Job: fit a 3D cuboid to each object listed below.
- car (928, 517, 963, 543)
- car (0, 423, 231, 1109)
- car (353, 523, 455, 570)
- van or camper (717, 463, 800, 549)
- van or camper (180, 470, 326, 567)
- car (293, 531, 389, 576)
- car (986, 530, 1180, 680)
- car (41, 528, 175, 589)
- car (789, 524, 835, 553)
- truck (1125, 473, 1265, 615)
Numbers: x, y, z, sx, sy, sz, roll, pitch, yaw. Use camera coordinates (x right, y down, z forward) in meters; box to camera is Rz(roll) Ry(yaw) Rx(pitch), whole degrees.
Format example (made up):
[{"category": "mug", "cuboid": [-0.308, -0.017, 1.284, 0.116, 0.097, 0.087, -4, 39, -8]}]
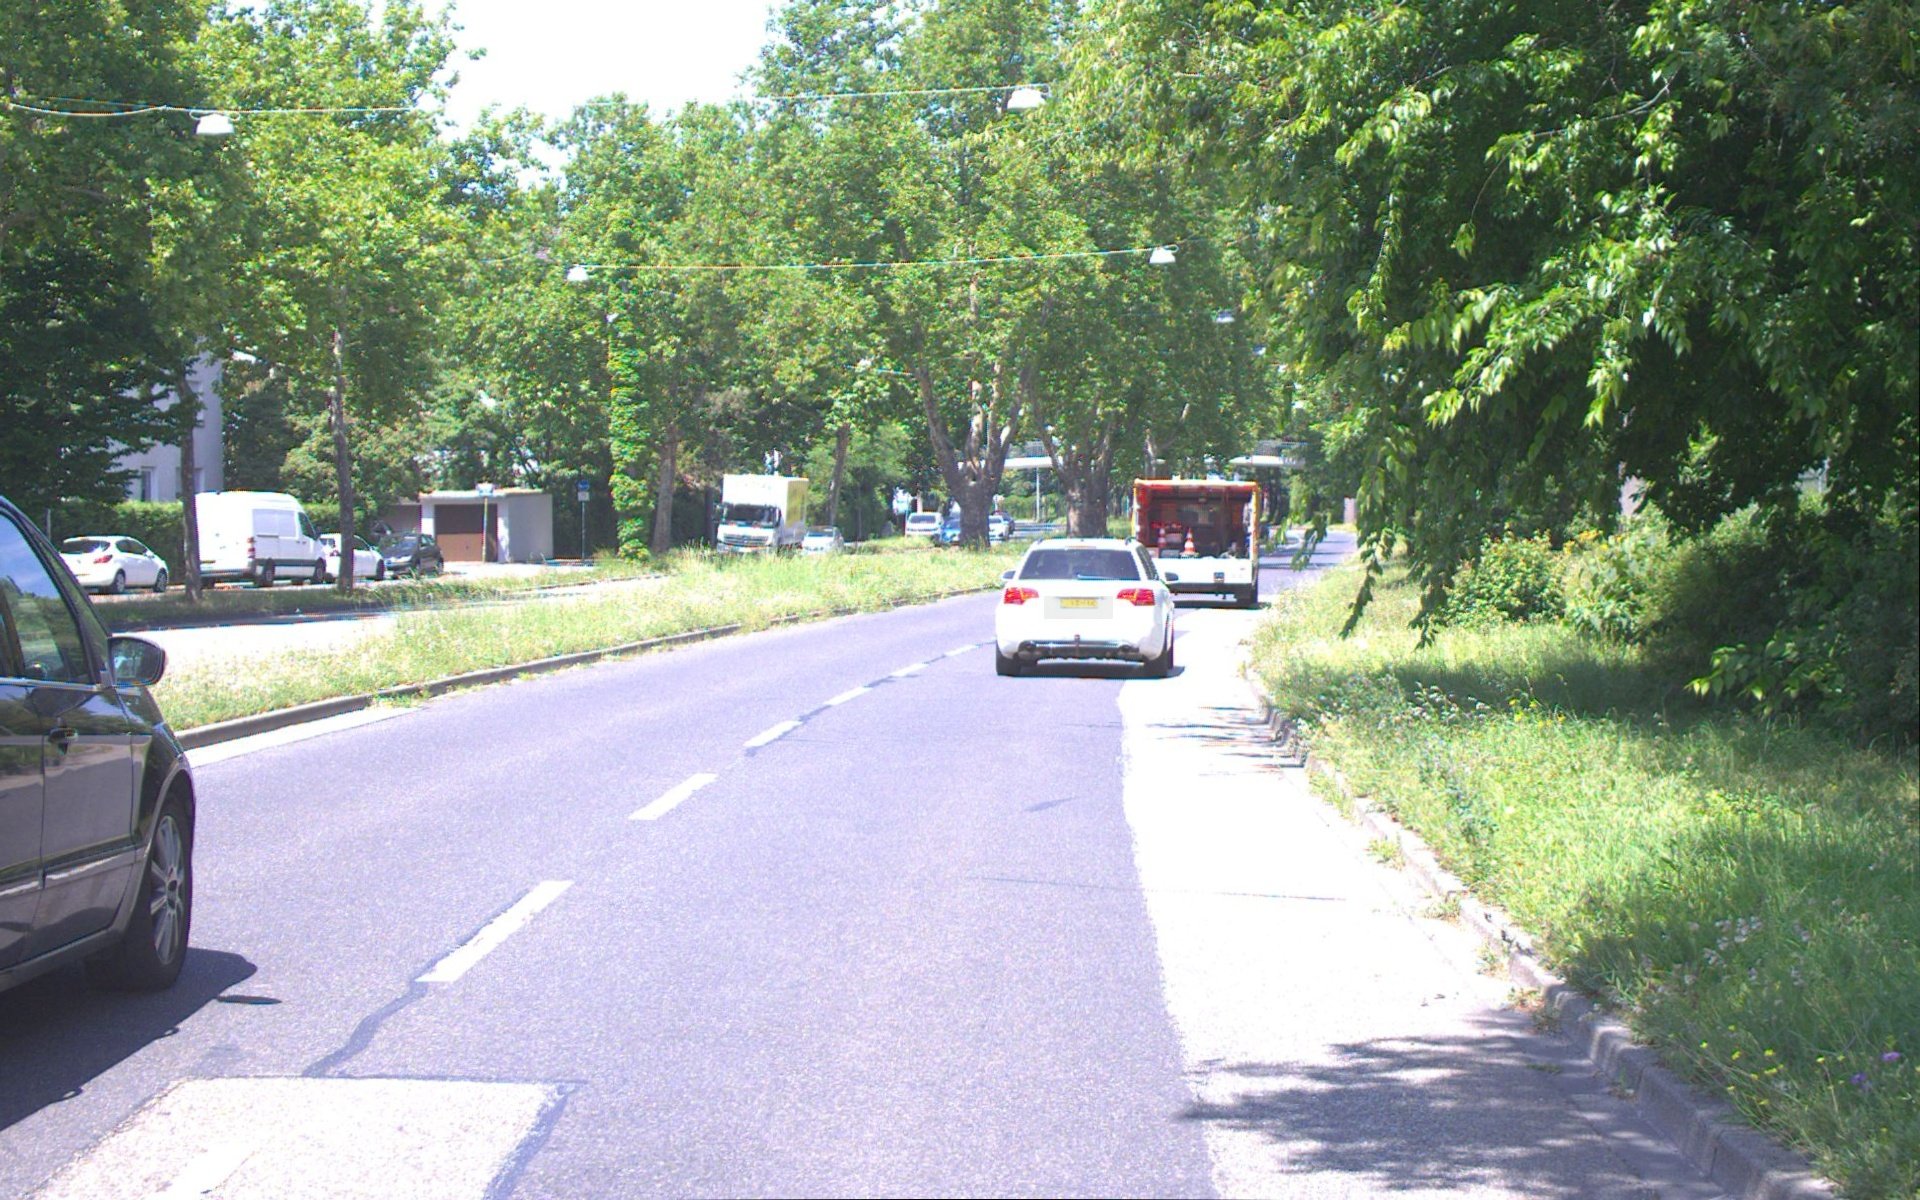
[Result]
[{"category": "car", "cuboid": [-0.769, -3.666, 180.549, 1.771, 1.327, 3.660, -1, 1, -1]}, {"category": "car", "cuboid": [-3.373, 0.411, 9.133, 1.854, 1.749, 4.649, 0, 1, 0]}, {"category": "car", "cuboid": [-17.422, -1.681, 107.805, 1.829, 1.386, 3.945, 0, 2, 12]}, {"category": "van or camper", "cuboid": [-7.917, -3.716, 135.530, 2.661, 3.320, 5.500, 0, 1, 3]}, {"category": "van or camper", "cuboid": [-19.610, -2.285, 95.556, 2.183, 2.578, 5.307, 0, 2, 9]}, {"category": "car", "cuboid": [-18.367, -1.407, 102.107, 1.693, 1.279, 3.802, 0, 2, 8]}, {"category": "car", "cuboid": [1.334, 0.016, 35.988, 1.763, 1.440, 3.615, 2, 1, 6]}, {"category": "car", "cuboid": [-21.423, -1.068, 86.553, 1.882, 1.469, 3.999, 0, 1, 8]}, {"category": "car", "cuboid": [-6.460, -2.723, 150.647, 1.914, 1.206, 4.335, -1, 2, -1]}, {"category": "truck", "cuboid": [4.533, -1.163, 66.820, 2.511, 2.550, 7.603, 1, 2, 3]}]
